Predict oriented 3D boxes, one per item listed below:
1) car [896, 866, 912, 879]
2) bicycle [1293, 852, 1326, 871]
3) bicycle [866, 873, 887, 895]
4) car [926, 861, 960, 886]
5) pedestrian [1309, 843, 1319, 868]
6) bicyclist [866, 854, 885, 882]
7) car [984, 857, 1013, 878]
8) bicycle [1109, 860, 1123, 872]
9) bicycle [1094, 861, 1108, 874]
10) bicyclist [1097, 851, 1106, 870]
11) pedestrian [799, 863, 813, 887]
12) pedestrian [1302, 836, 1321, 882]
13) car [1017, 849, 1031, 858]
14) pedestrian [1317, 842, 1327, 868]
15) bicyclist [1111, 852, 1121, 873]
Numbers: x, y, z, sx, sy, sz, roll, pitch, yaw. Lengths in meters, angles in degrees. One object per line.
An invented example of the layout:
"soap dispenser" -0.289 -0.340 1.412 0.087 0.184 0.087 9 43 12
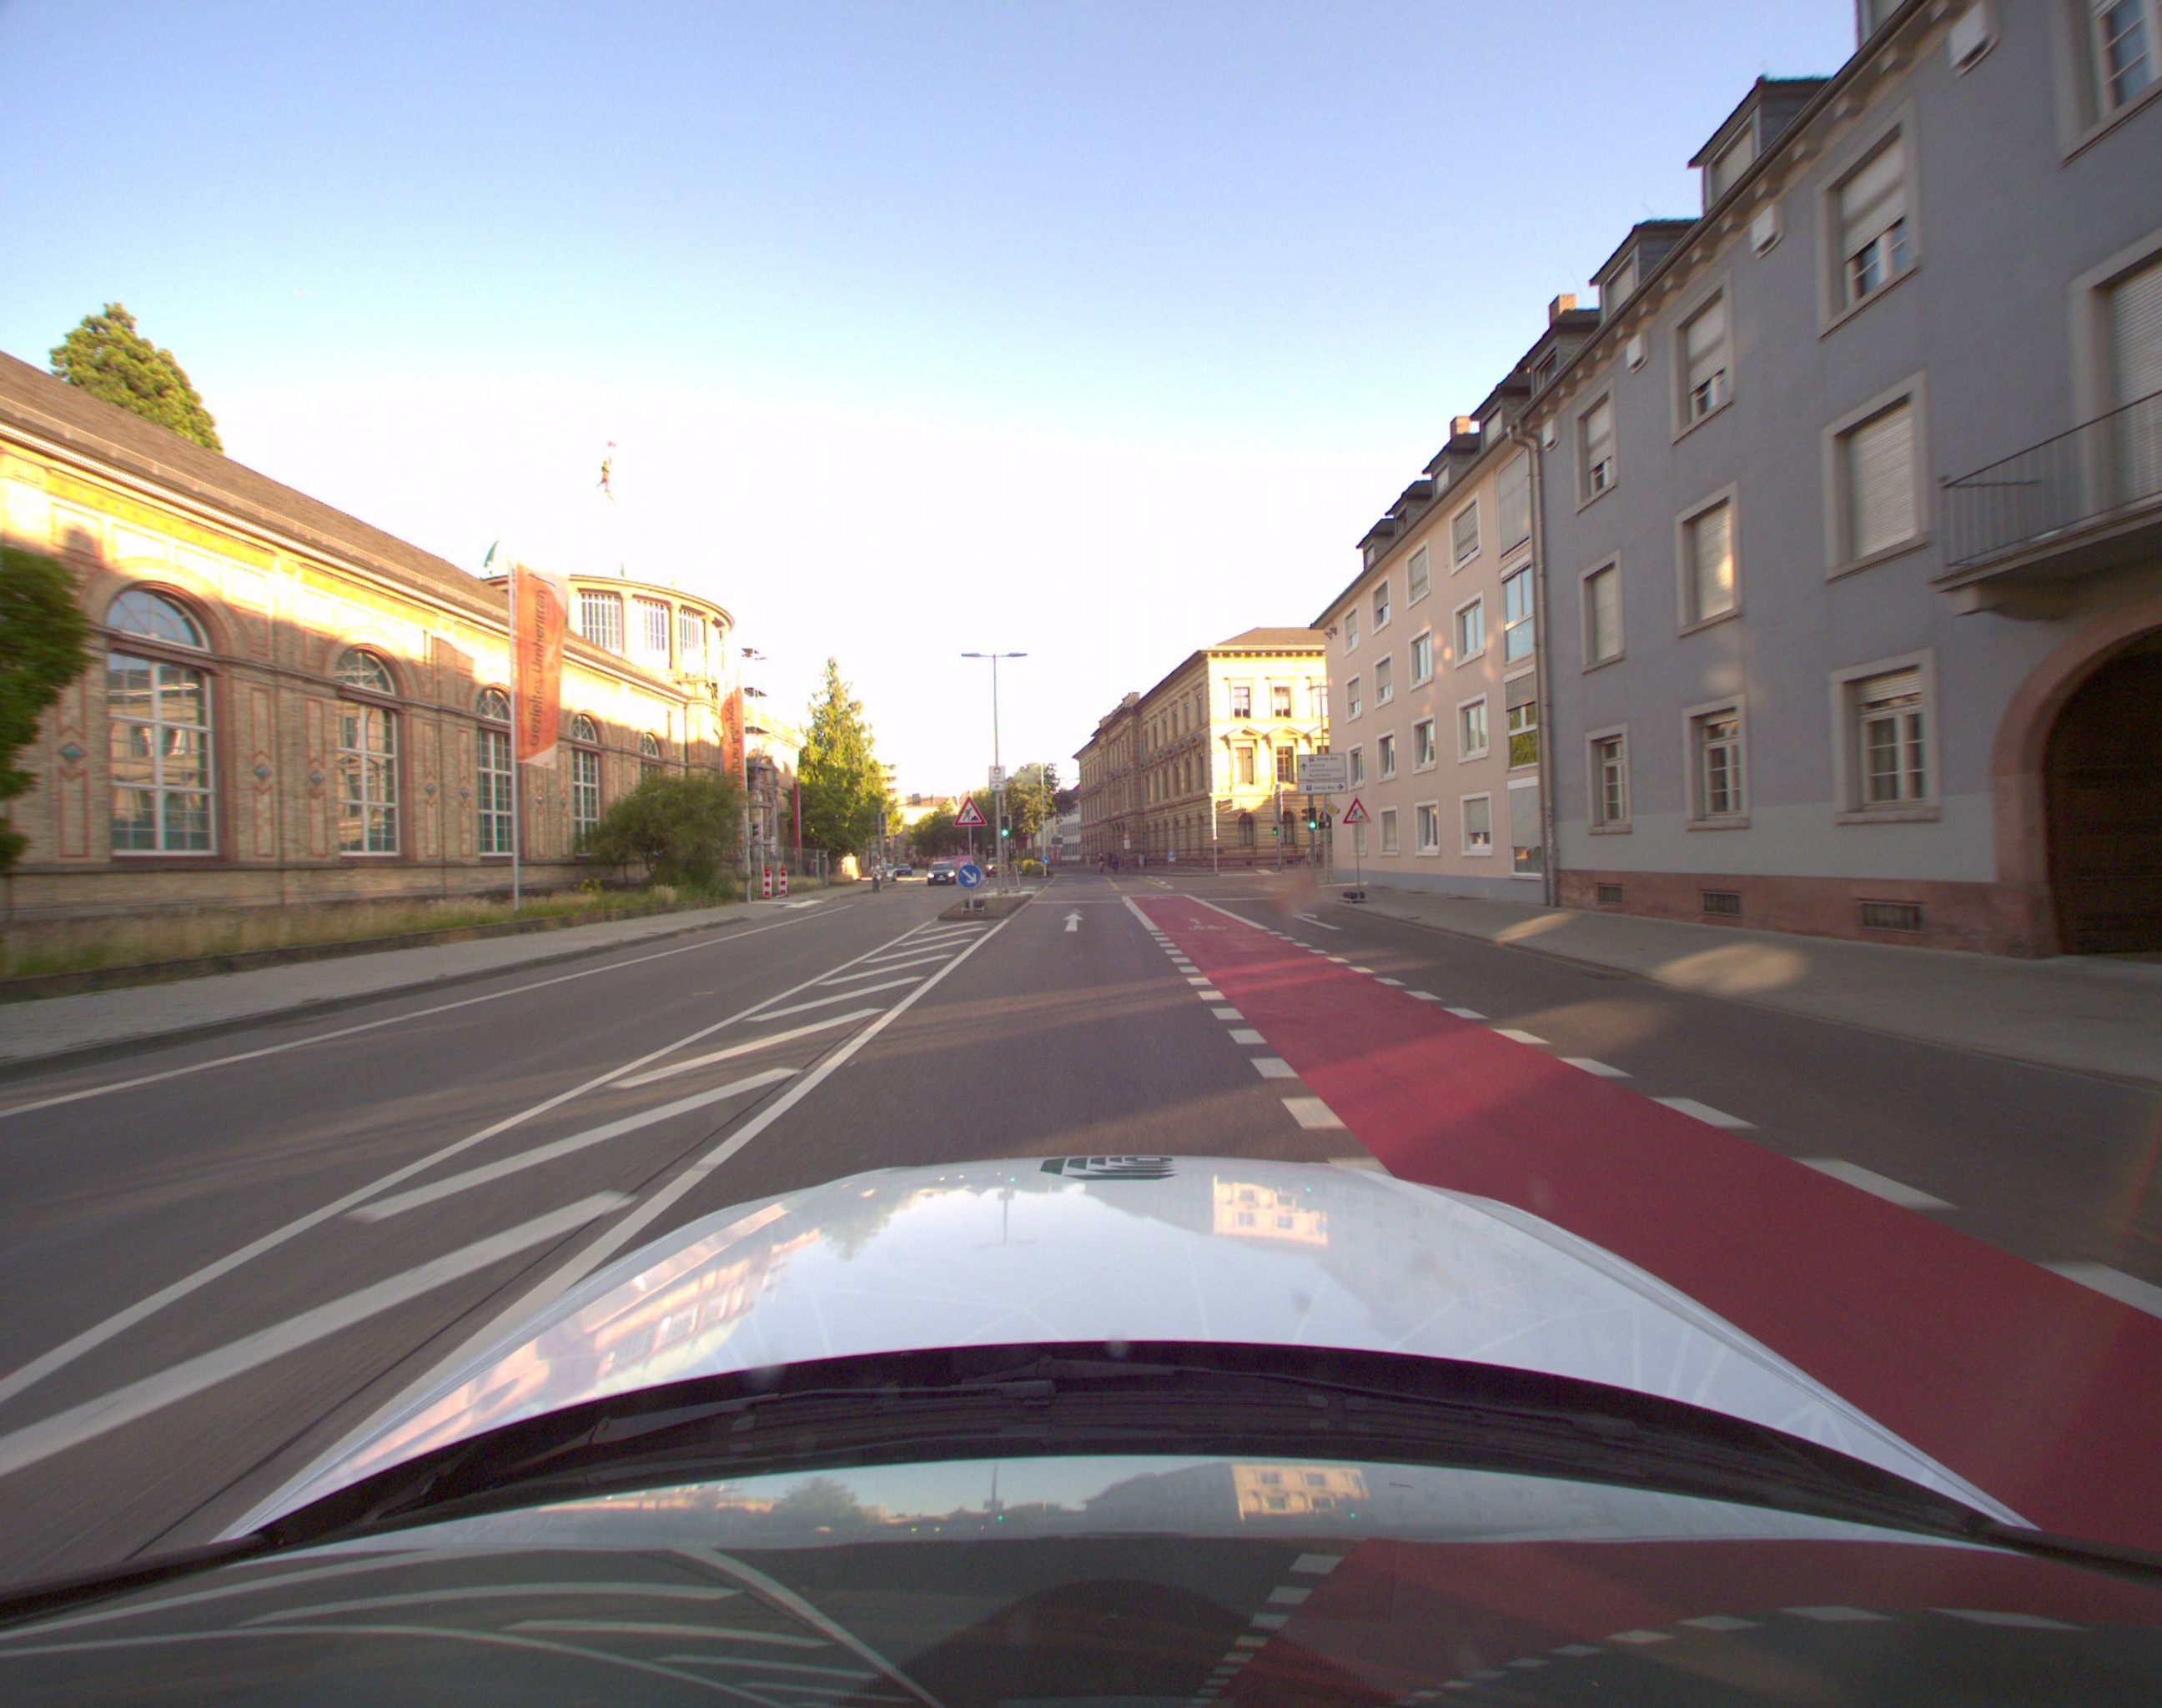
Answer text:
"car" -19.879 2.023 91.556 1.680 1.351 3.872 -3 0 -11
"bicycle" 15.975 0.539 56.965 2.045 1.207 0.861 -2 2 -2
"bicycle" -11.057 1.596 44.113 0.752 1.090 1.928 -4 0 -6
"car" -8.934 1.262 53.086 1.820 1.508 4.418 -2 -1 -5
"pedestrian" 17.167 0.111 59.968 0.452 1.858 0.422 -1 -1 -42
"bicyclist" -11.105 0.735 44.056 0.746 1.460 0.935 -3 0 -6
"car" -6.765 1.088 67.227 1.838 1.547 4.120 -2 0 2
"bicycle" 3.017 1.038 69.800 0.653 1.071 2.248 1 -1 -13
"bicycle" 1.730 1.148 69.710 0.671 1.071 1.891 0 -1 -16
"bicyclist" 1.754 0.576 69.627 0.670 1.566 0.695 1 -1 -16
"pedestrian" -19.118 1.457 56.592 0.734 1.579 0.761 -2 0 -6
"pedestrian" 10.471 0.218 37.058 0.779 2.013 0.998 -2 0 15
"car" -11.271 -0.132 161.353 1.819 1.560 3.838 -1 -1 -21
"pedestrian" 17.622 0.079 59.588 0.529 1.858 0.626 -2 -1 25
"bicyclist" 3.019 0.741 69.852 0.650 1.760 0.860 0 -1 -13
